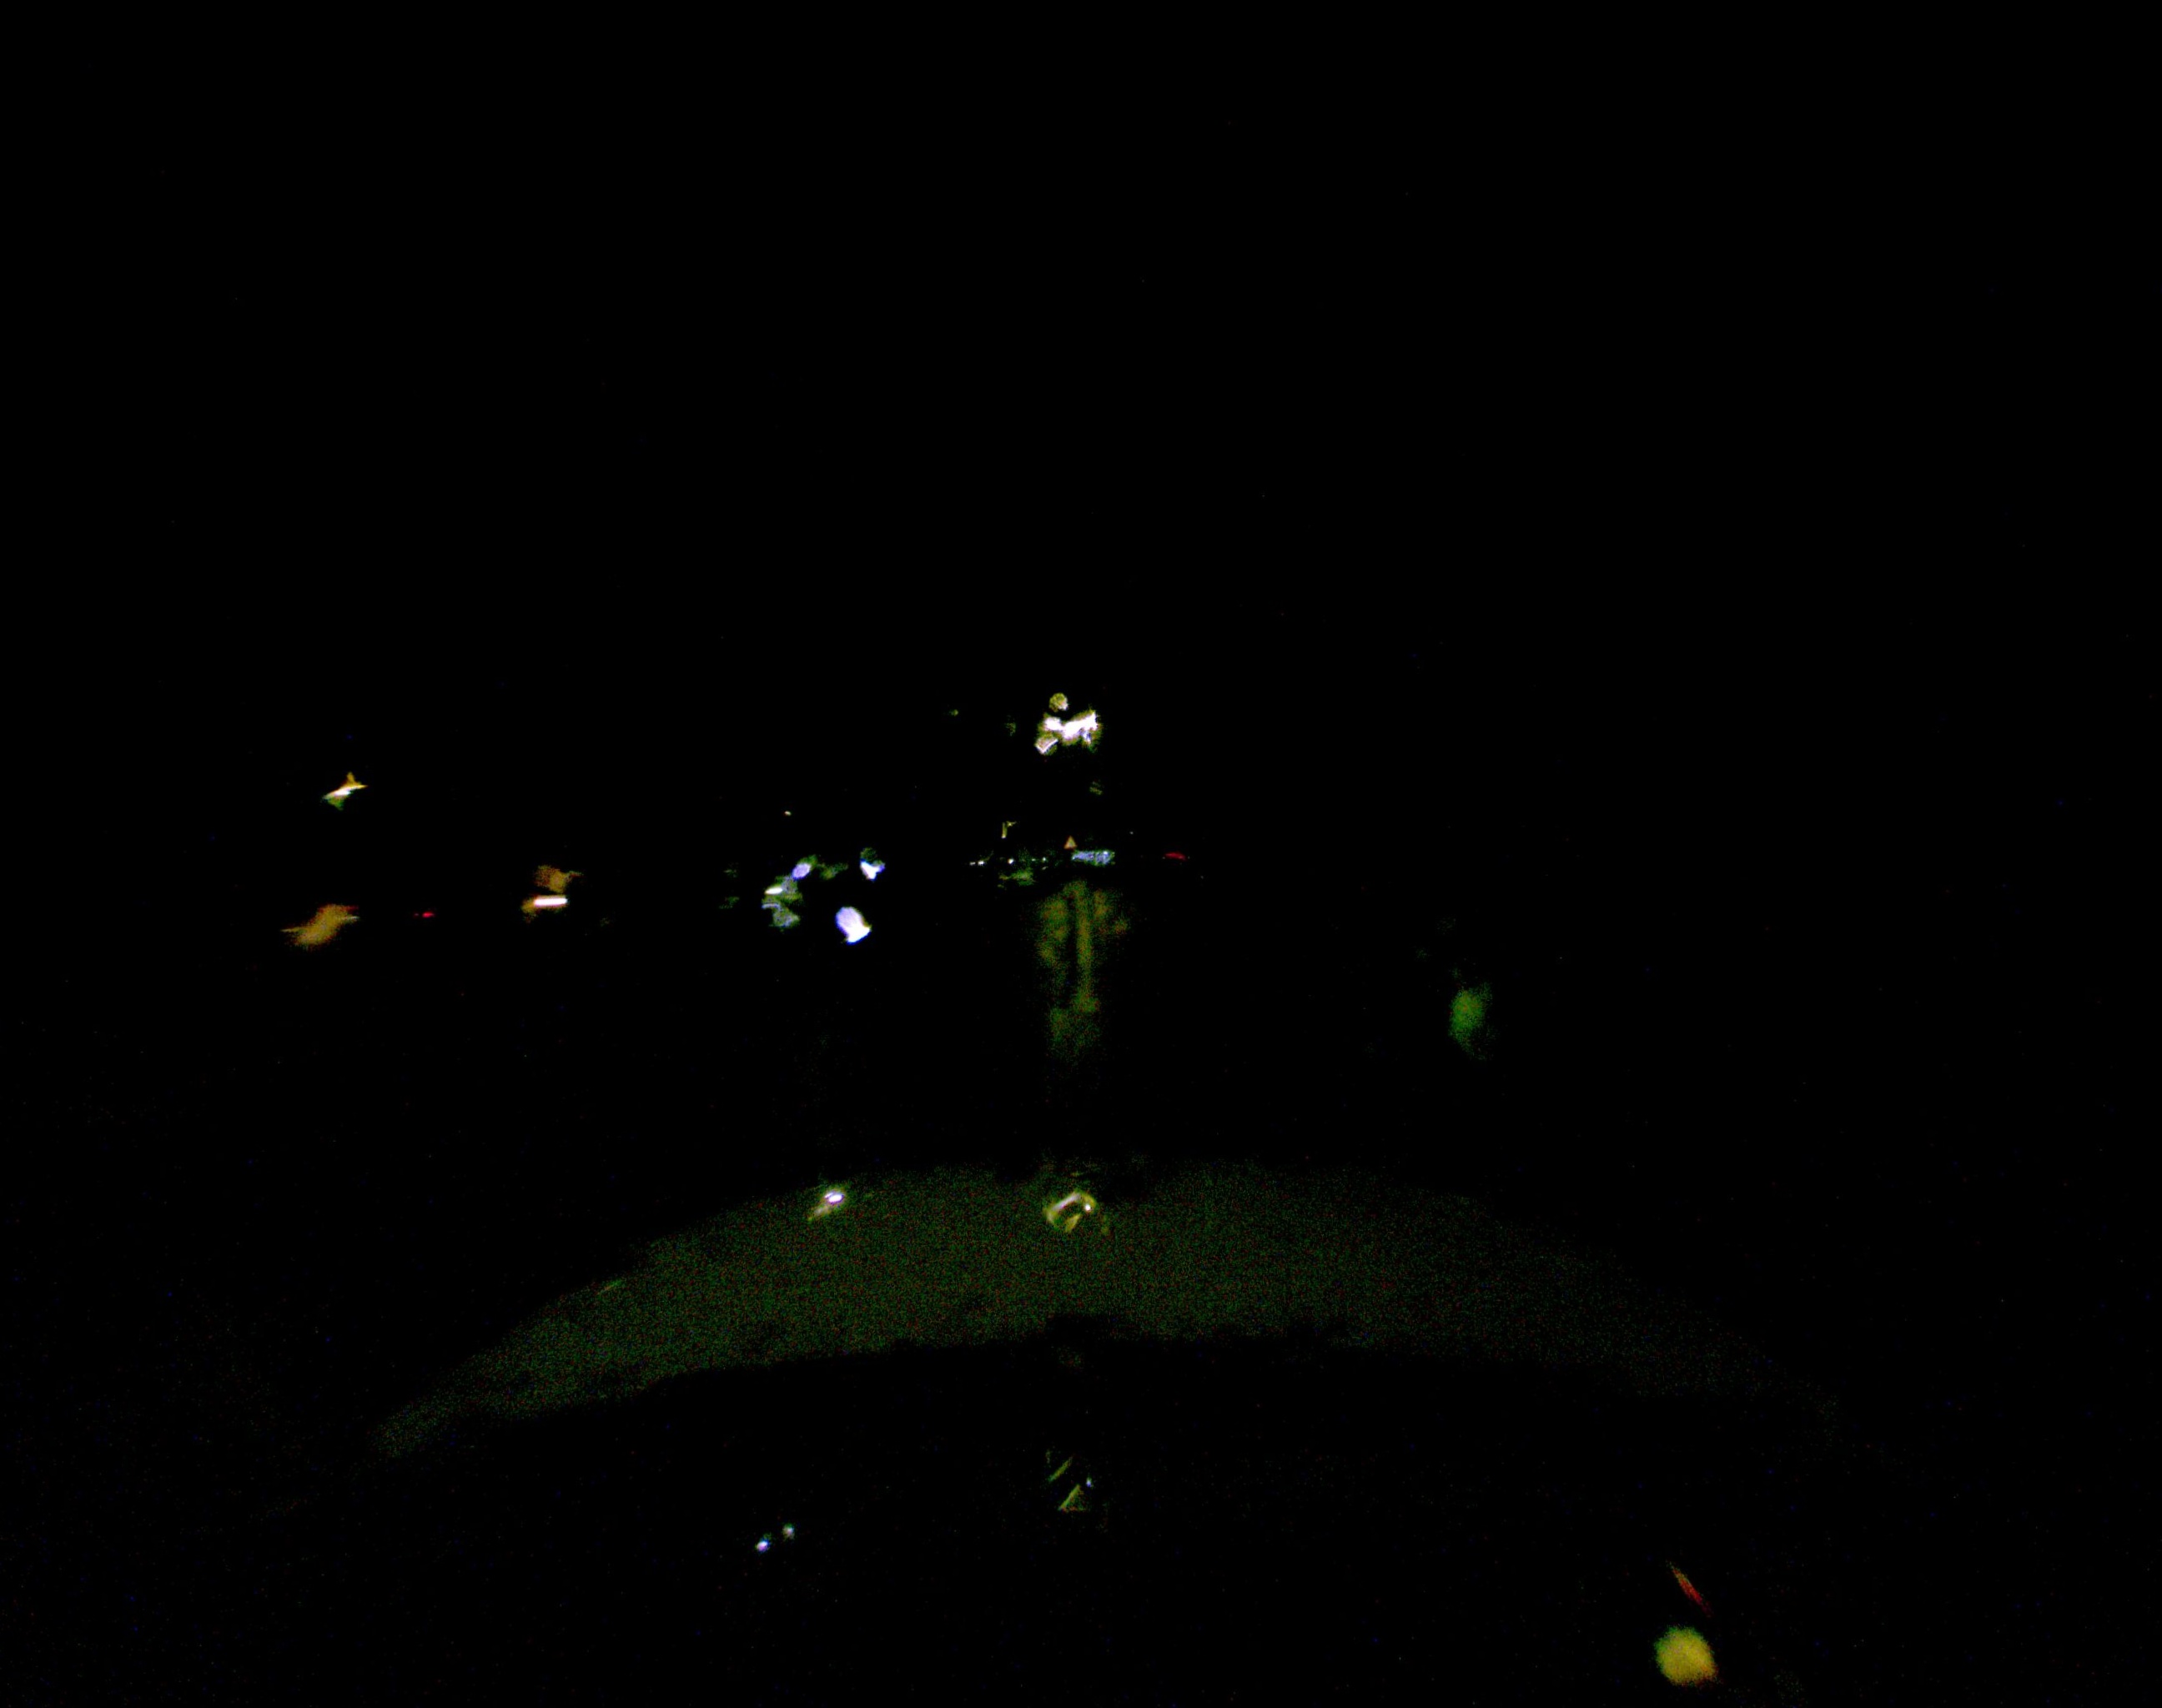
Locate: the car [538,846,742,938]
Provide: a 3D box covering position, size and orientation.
[{"bbox_3d":[-9.145,0.756,17.338,1.708,1.703,4.150,-1,-1,7],"label":"car"}]

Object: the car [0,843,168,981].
[{"bbox_3d":[-14.463,0.735,9.932,1.985,1.720,4.004,-1,-2,4],"label":"car"}]

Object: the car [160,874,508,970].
[{"bbox_3d":[-12.474,1.050,14.100,1.710,1.354,4.415,-1,-1,5],"label":"car"}]

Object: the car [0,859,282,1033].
[{"bbox_3d":[-10.199,0.833,7.654,1.577,1.526,3.656,-1,-2,5],"label":"car"}]

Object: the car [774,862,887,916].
[{"bbox_3d":[-7.863,1.078,26.058,1.699,1.534,4.609,-1,-2,7],"label":"car"}]
